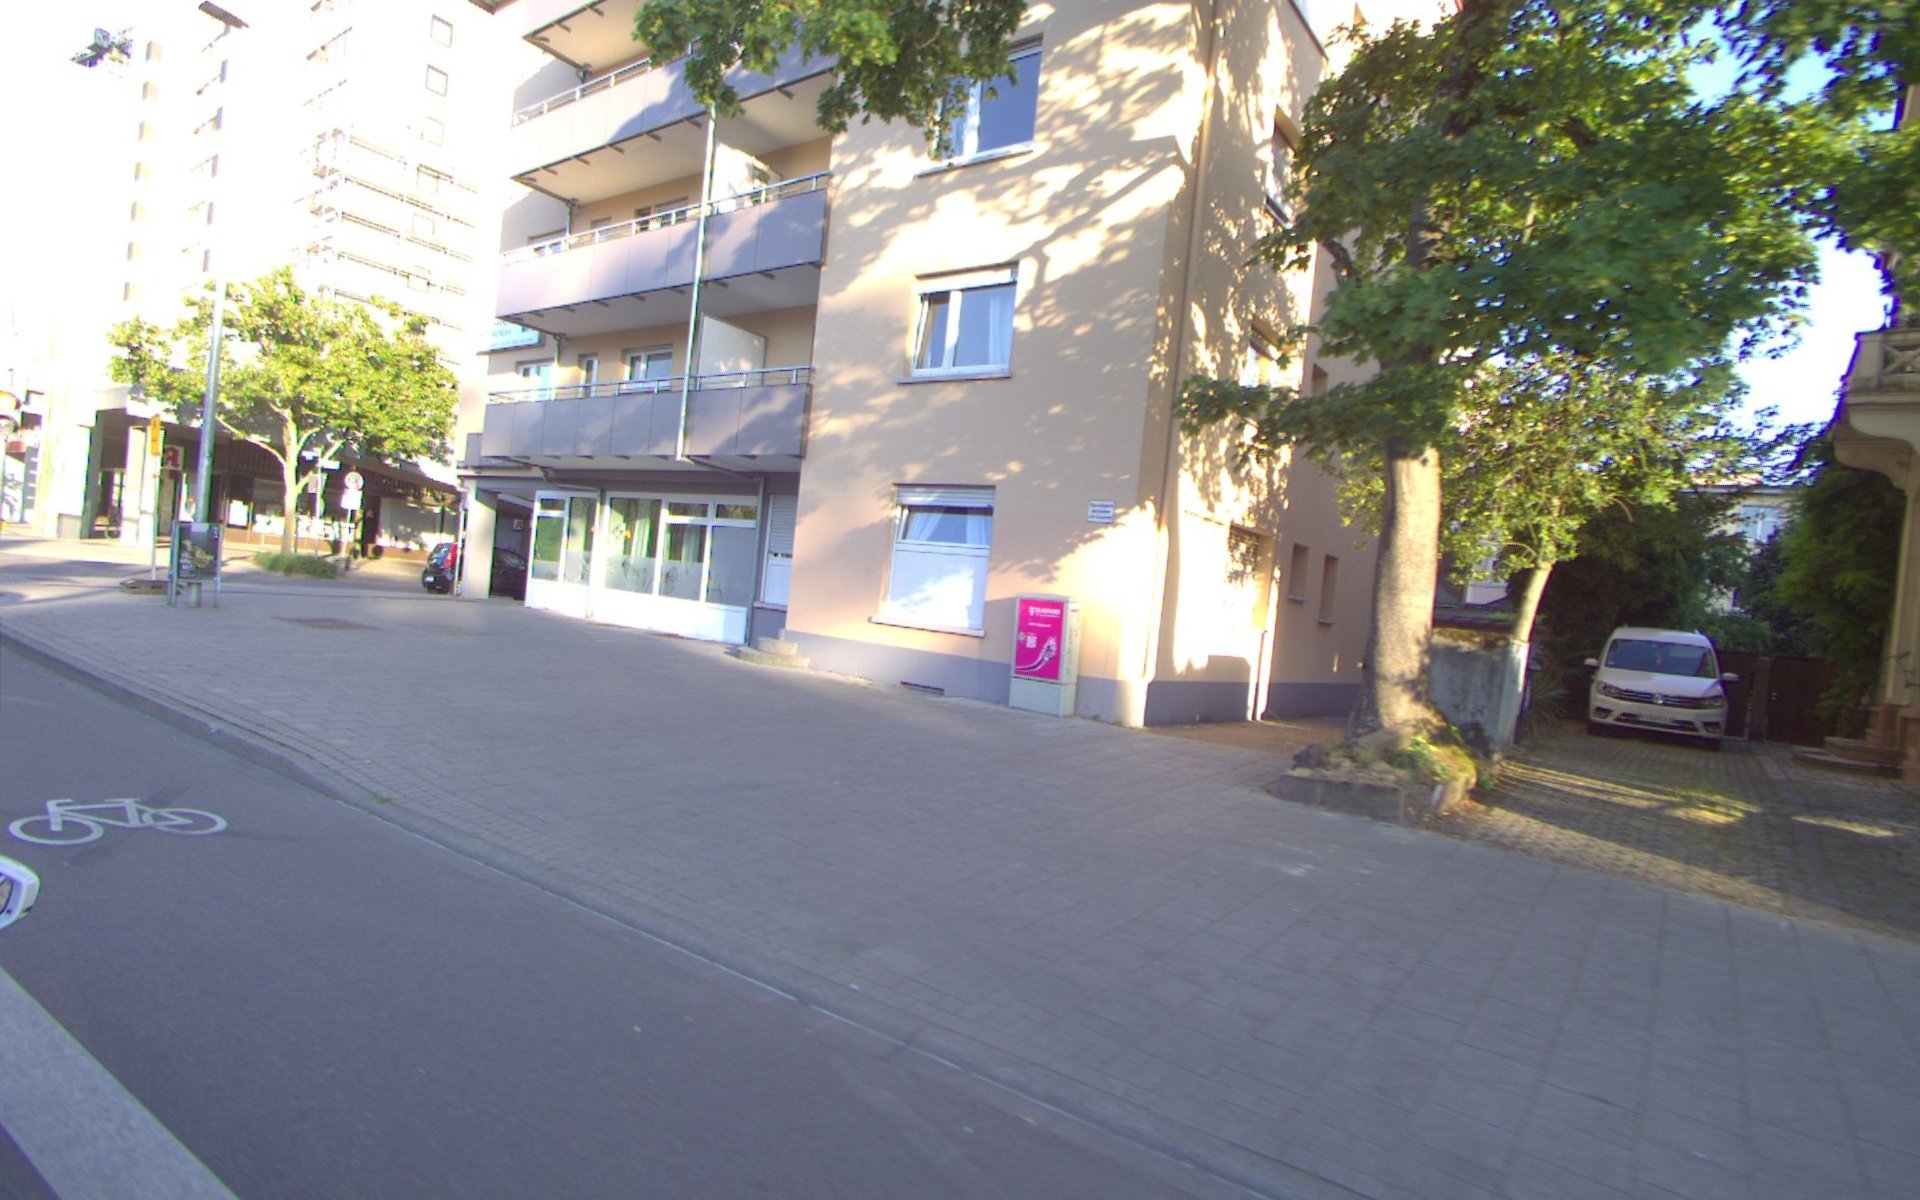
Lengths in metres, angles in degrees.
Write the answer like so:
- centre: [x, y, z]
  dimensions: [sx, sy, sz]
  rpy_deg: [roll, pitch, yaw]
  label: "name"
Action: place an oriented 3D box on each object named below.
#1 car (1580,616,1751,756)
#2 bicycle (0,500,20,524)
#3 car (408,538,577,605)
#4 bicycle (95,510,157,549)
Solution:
- centre: [11.454, 1.304, 16.638]
  dimensions: [1.795, 1.780, 4.509]
  rpy_deg: [7, 2, 31]
  label: "car"
- centre: [-52.170, -4.875, 54.227]
  dimensions: [0.681, 1.162, 2.015]
  rpy_deg: [5, -4, 42]
  label: "bicycle"
- centre: [-13.316, -0.770, 28.822]
  dimensions: [1.682, 1.605, 4.033]
  rpy_deg: [3, -1, 40]
  label: "car"
- centre: [-30.934, -2.612, 37.317]
  dimensions: [1.985, 1.162, 0.691]
  rpy_deg: [6, -2, 17]
  label: "bicycle"
